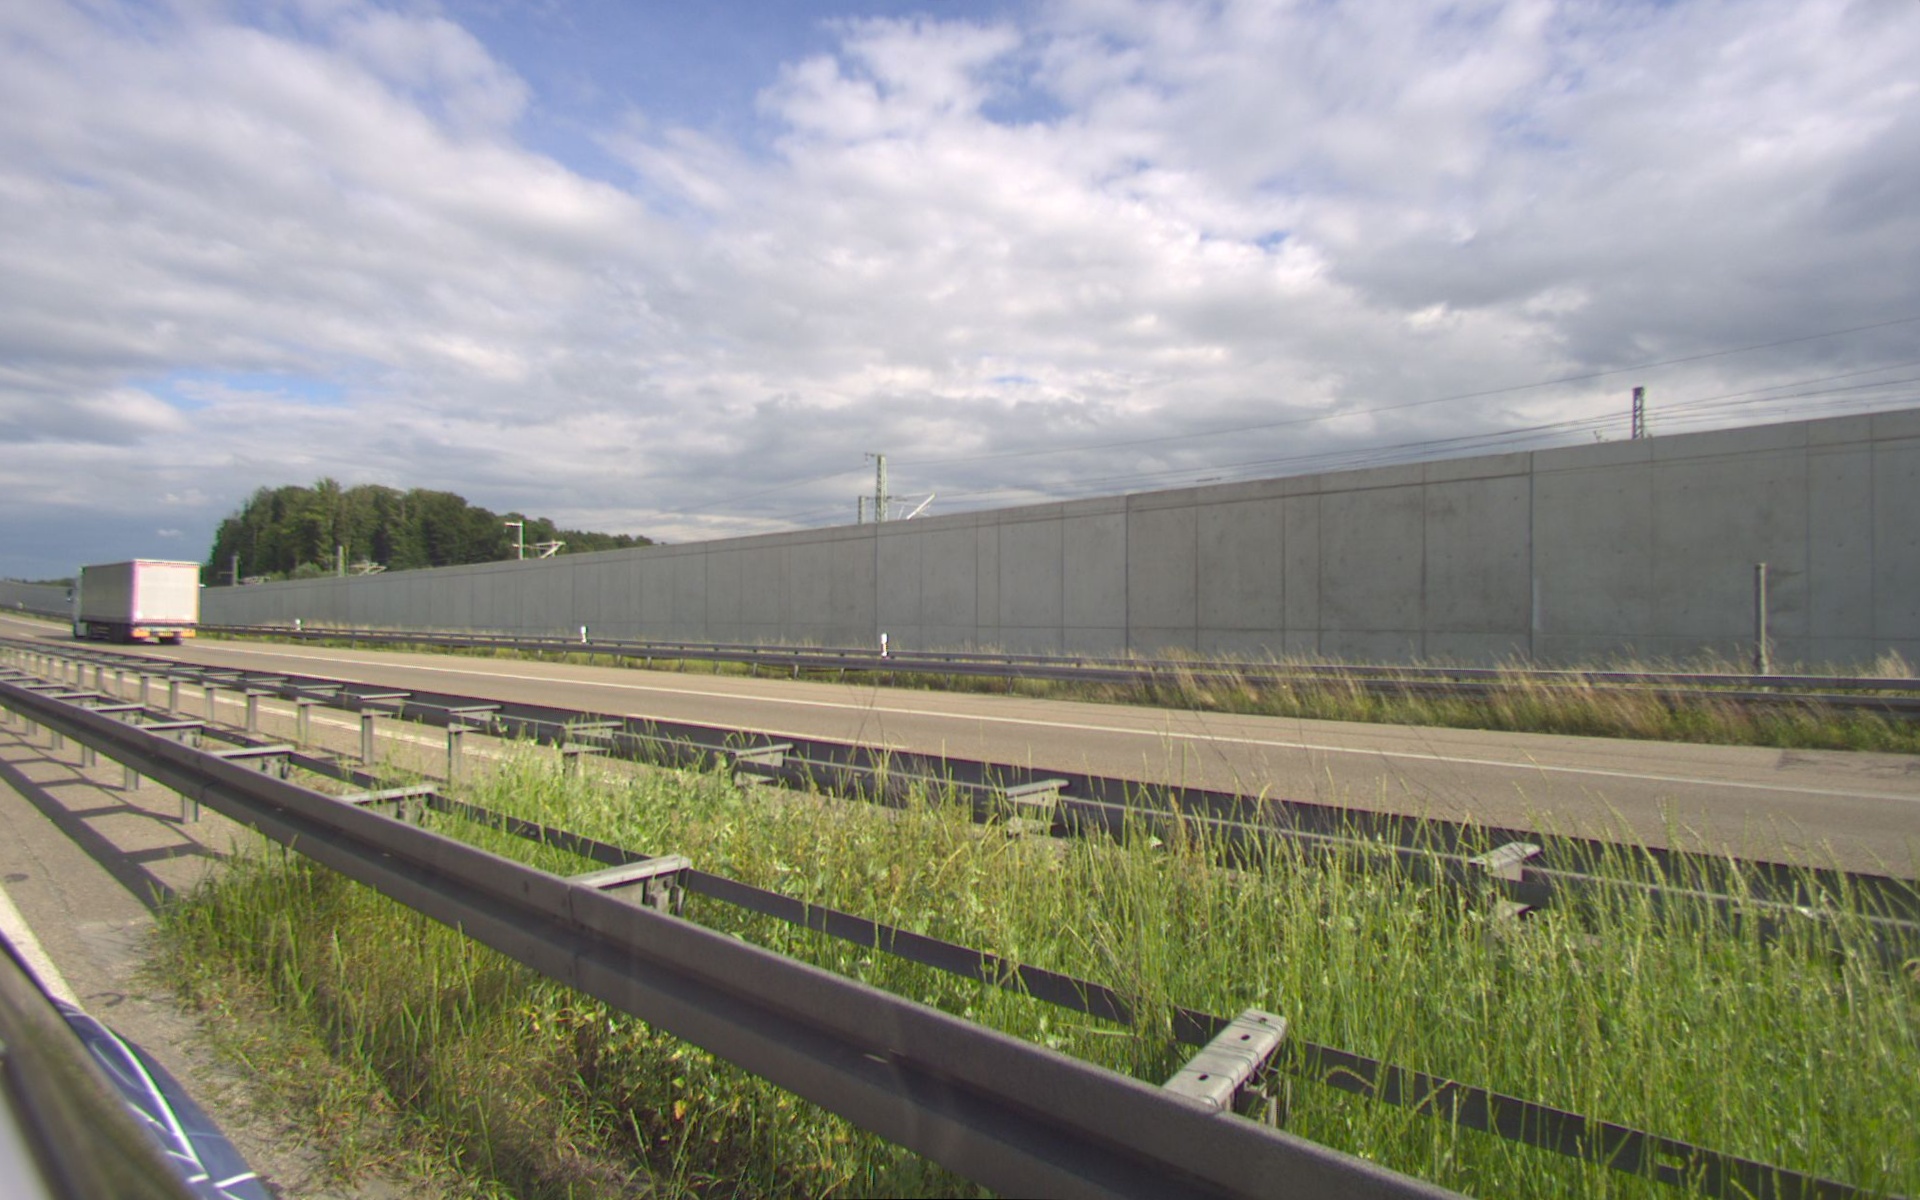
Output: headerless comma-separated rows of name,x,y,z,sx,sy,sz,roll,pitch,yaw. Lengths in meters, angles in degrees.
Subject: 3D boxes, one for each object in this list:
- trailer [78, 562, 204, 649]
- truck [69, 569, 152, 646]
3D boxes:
trailer,-42.619,0.379,52.387,13.783,4.069,2.656,-1,-2,41
truck,-47.838,0.464,56.948,5.876,4.099,2.657,-1,-2,41
